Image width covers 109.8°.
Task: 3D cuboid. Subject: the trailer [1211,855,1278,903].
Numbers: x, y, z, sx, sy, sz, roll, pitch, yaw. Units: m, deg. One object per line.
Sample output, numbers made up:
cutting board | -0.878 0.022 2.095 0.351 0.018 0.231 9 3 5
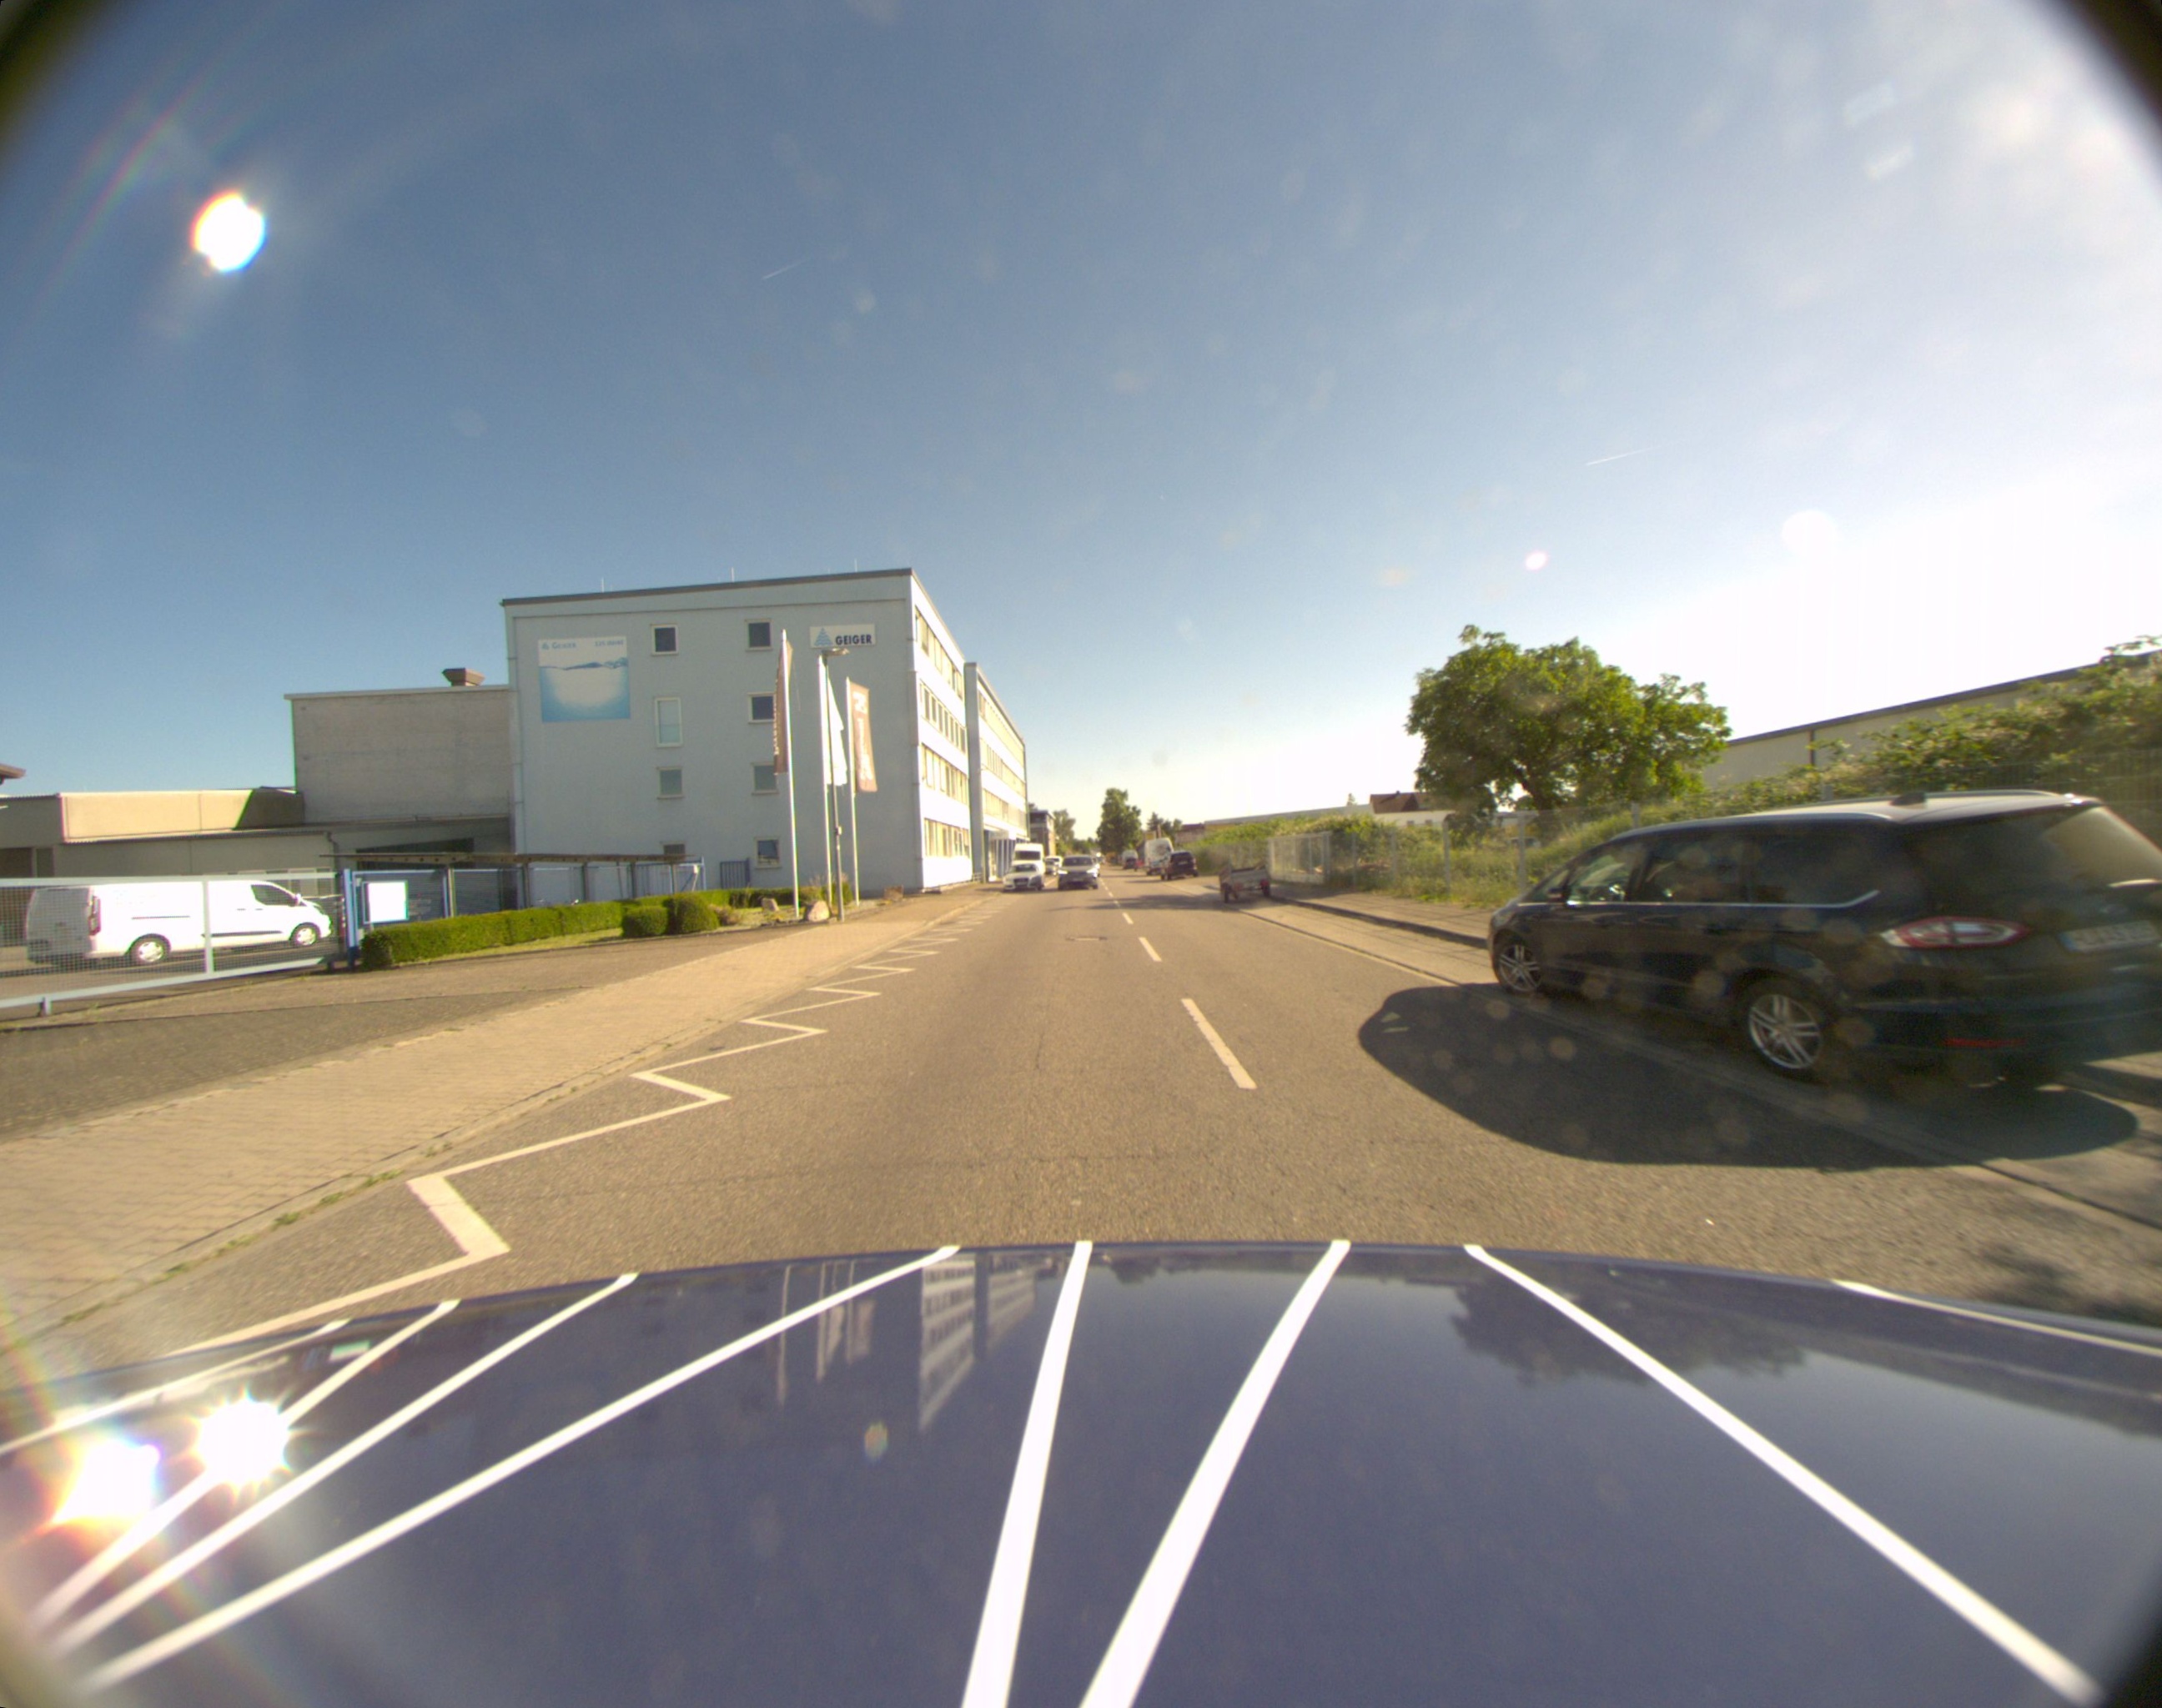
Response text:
trailer | 5.228 0.769 24.619 1.480 1.346 3.078 -4 0 1

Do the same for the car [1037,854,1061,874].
car | -2.849 0.879 68.718 1.894 1.551 5.090 -3 0 0

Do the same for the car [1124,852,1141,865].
car | 6.604 0.536 97.045 1.804 1.501 5.003 -6 0 1

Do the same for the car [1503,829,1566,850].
car | 37.787 -1.204 63.405 4.164 1.565 1.850 -3 0 14

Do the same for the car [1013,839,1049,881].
car | -3.274 0.436 50.591 1.999 2.582 6.051 -1 -1 0

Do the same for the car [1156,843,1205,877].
car | 5.914 0.352 45.834 2.035 1.684 5.106 -7 0 -1

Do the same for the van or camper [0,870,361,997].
van or camper | -22.479 1.767 19.119 2.105 2.368 6.514 -4 1 3

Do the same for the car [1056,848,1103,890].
car | -0.044 0.683 36.774 1.998 1.750 5.016 -3 0 1

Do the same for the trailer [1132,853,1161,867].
trailer | 6.612 0.627 77.724 2.382 1.073 6.246 -6 -1 0

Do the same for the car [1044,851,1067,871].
car | -2.514 0.664 76.422 1.894 1.821 5.091 -3 0 2

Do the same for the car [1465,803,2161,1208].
car | 5.201 0.645 5.857 1.796 1.721 4.800 -5 1 -2

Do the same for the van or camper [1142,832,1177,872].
van or camper | 6.008 -0.155 58.683 1.971 2.669 5.948 -8 0 2

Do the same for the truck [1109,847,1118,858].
truck | 9.126 -0.398 211.523 2.173 2.698 5.749 -4 1 1

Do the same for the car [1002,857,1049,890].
car | -2.758 0.950 39.019 1.899 1.397 5.123 -4 1 0

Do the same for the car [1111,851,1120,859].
car | 8.216 0.208 179.933 1.779 1.838 4.616 -5 0 4

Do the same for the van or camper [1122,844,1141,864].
van or camper | 7.111 0.033 107.866 2.076 2.534 6.404 -6 0 1
